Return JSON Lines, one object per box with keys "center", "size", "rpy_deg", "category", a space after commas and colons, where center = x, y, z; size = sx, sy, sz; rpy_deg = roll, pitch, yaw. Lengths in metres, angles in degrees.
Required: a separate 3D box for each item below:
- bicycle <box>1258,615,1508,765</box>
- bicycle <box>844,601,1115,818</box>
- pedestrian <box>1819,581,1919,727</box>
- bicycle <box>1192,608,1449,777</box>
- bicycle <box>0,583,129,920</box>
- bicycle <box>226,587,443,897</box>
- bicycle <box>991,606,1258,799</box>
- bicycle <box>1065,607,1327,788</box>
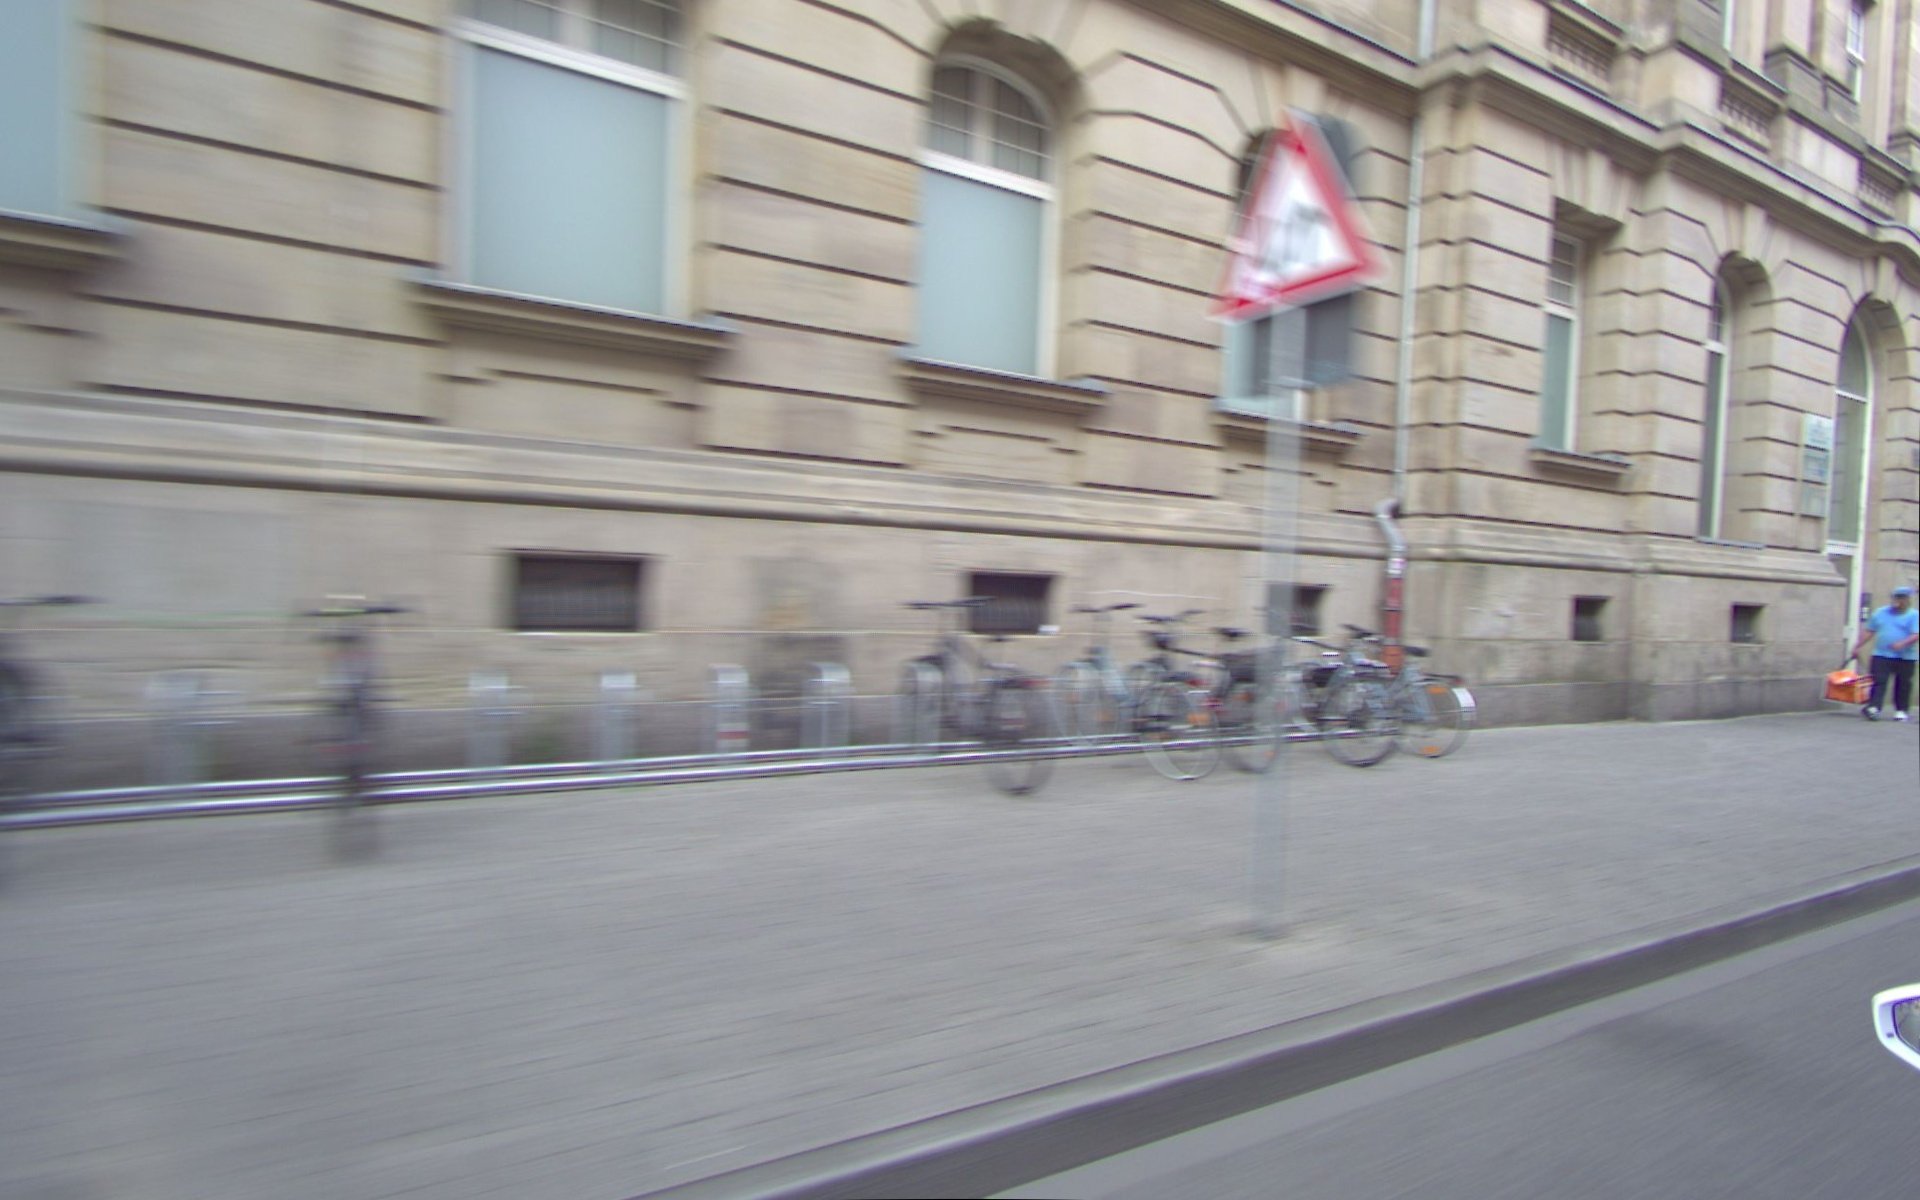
{"center": [3.639, 0.723, 8.828], "size": [0.714, 1.060, 1.923], "rpy_deg": [1, 2, -33], "category": "bicycle"}
{"center": [0.047, 0.625, 6.604], "size": [0.723, 1.093, 1.923], "rpy_deg": [2, 3, -36], "category": "bicycle"}
{"center": [11.850, 0.675, 12.974], "size": [0.759, 1.769, 0.825], "rpy_deg": [1, 3, -29], "category": "pedestrian"}
{"center": [2.893, 0.692, 8.302], "size": [0.739, 1.093, 1.927], "rpy_deg": [2, 3, -30], "category": "bicycle"}
{"center": [-4.083, 0.530, 4.248], "size": [0.723, 1.093, 1.923], "rpy_deg": [2, 3, -36], "category": "bicycle"}
{"center": [-3.078, 0.547, 4.857], "size": [0.723, 1.093, 1.923], "rpy_deg": [2, 3, -36], "category": "bicycle"}
{"center": [1.127, 0.664, 7.337], "size": [0.723, 1.093, 1.923], "rpy_deg": [2, 3, -36], "category": "bicycle"}
{"center": [1.751, 0.677, 7.783], "size": [0.723, 1.093, 1.923], "rpy_deg": [2, 3, -36], "category": "bicycle"}
